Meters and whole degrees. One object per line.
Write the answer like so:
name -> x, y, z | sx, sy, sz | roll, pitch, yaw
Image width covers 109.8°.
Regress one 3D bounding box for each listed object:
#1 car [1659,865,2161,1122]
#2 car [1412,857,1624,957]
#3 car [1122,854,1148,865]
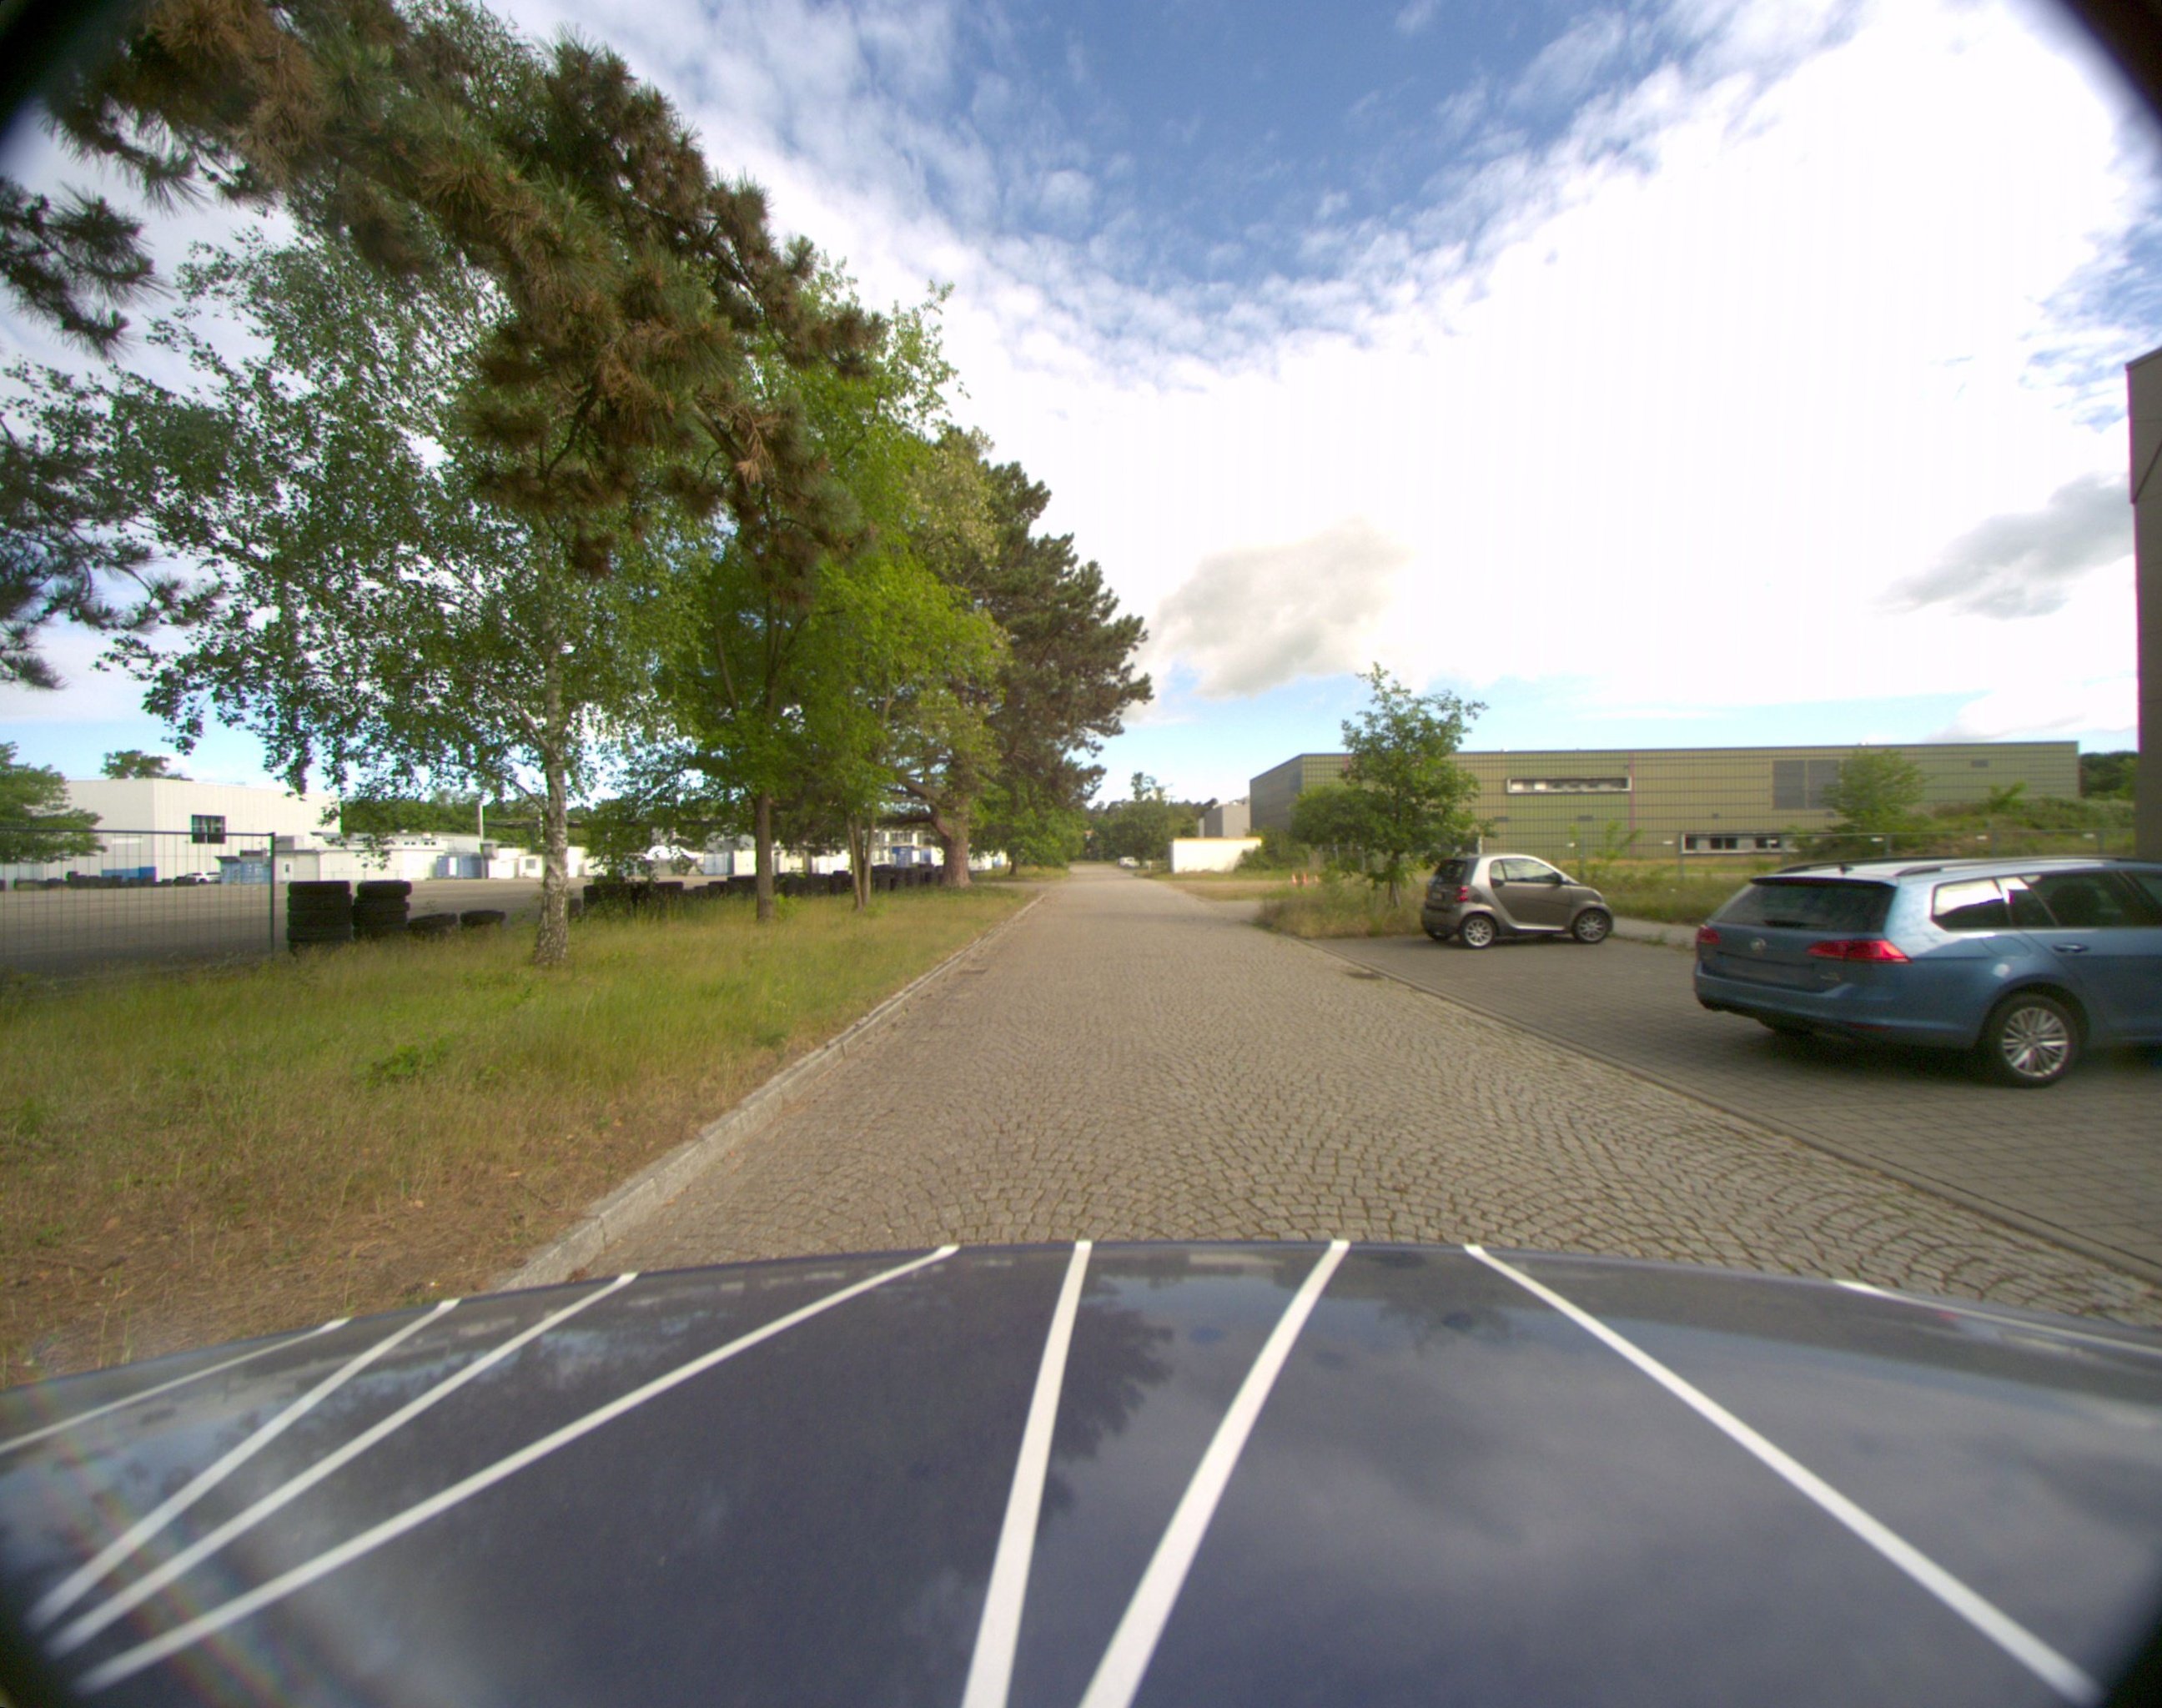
car -> 7.163, 0.884, 5.712 | 4.317, 1.420, 1.773 | -2, 0, -2
car -> 7.378, 0.852, 13.026 | 2.661, 1.502, 1.610 | -2, 0, 0
car -> 8.508, 0.853, 120.252 | 3.996, 1.604, 1.798 | -1, 0, 4
